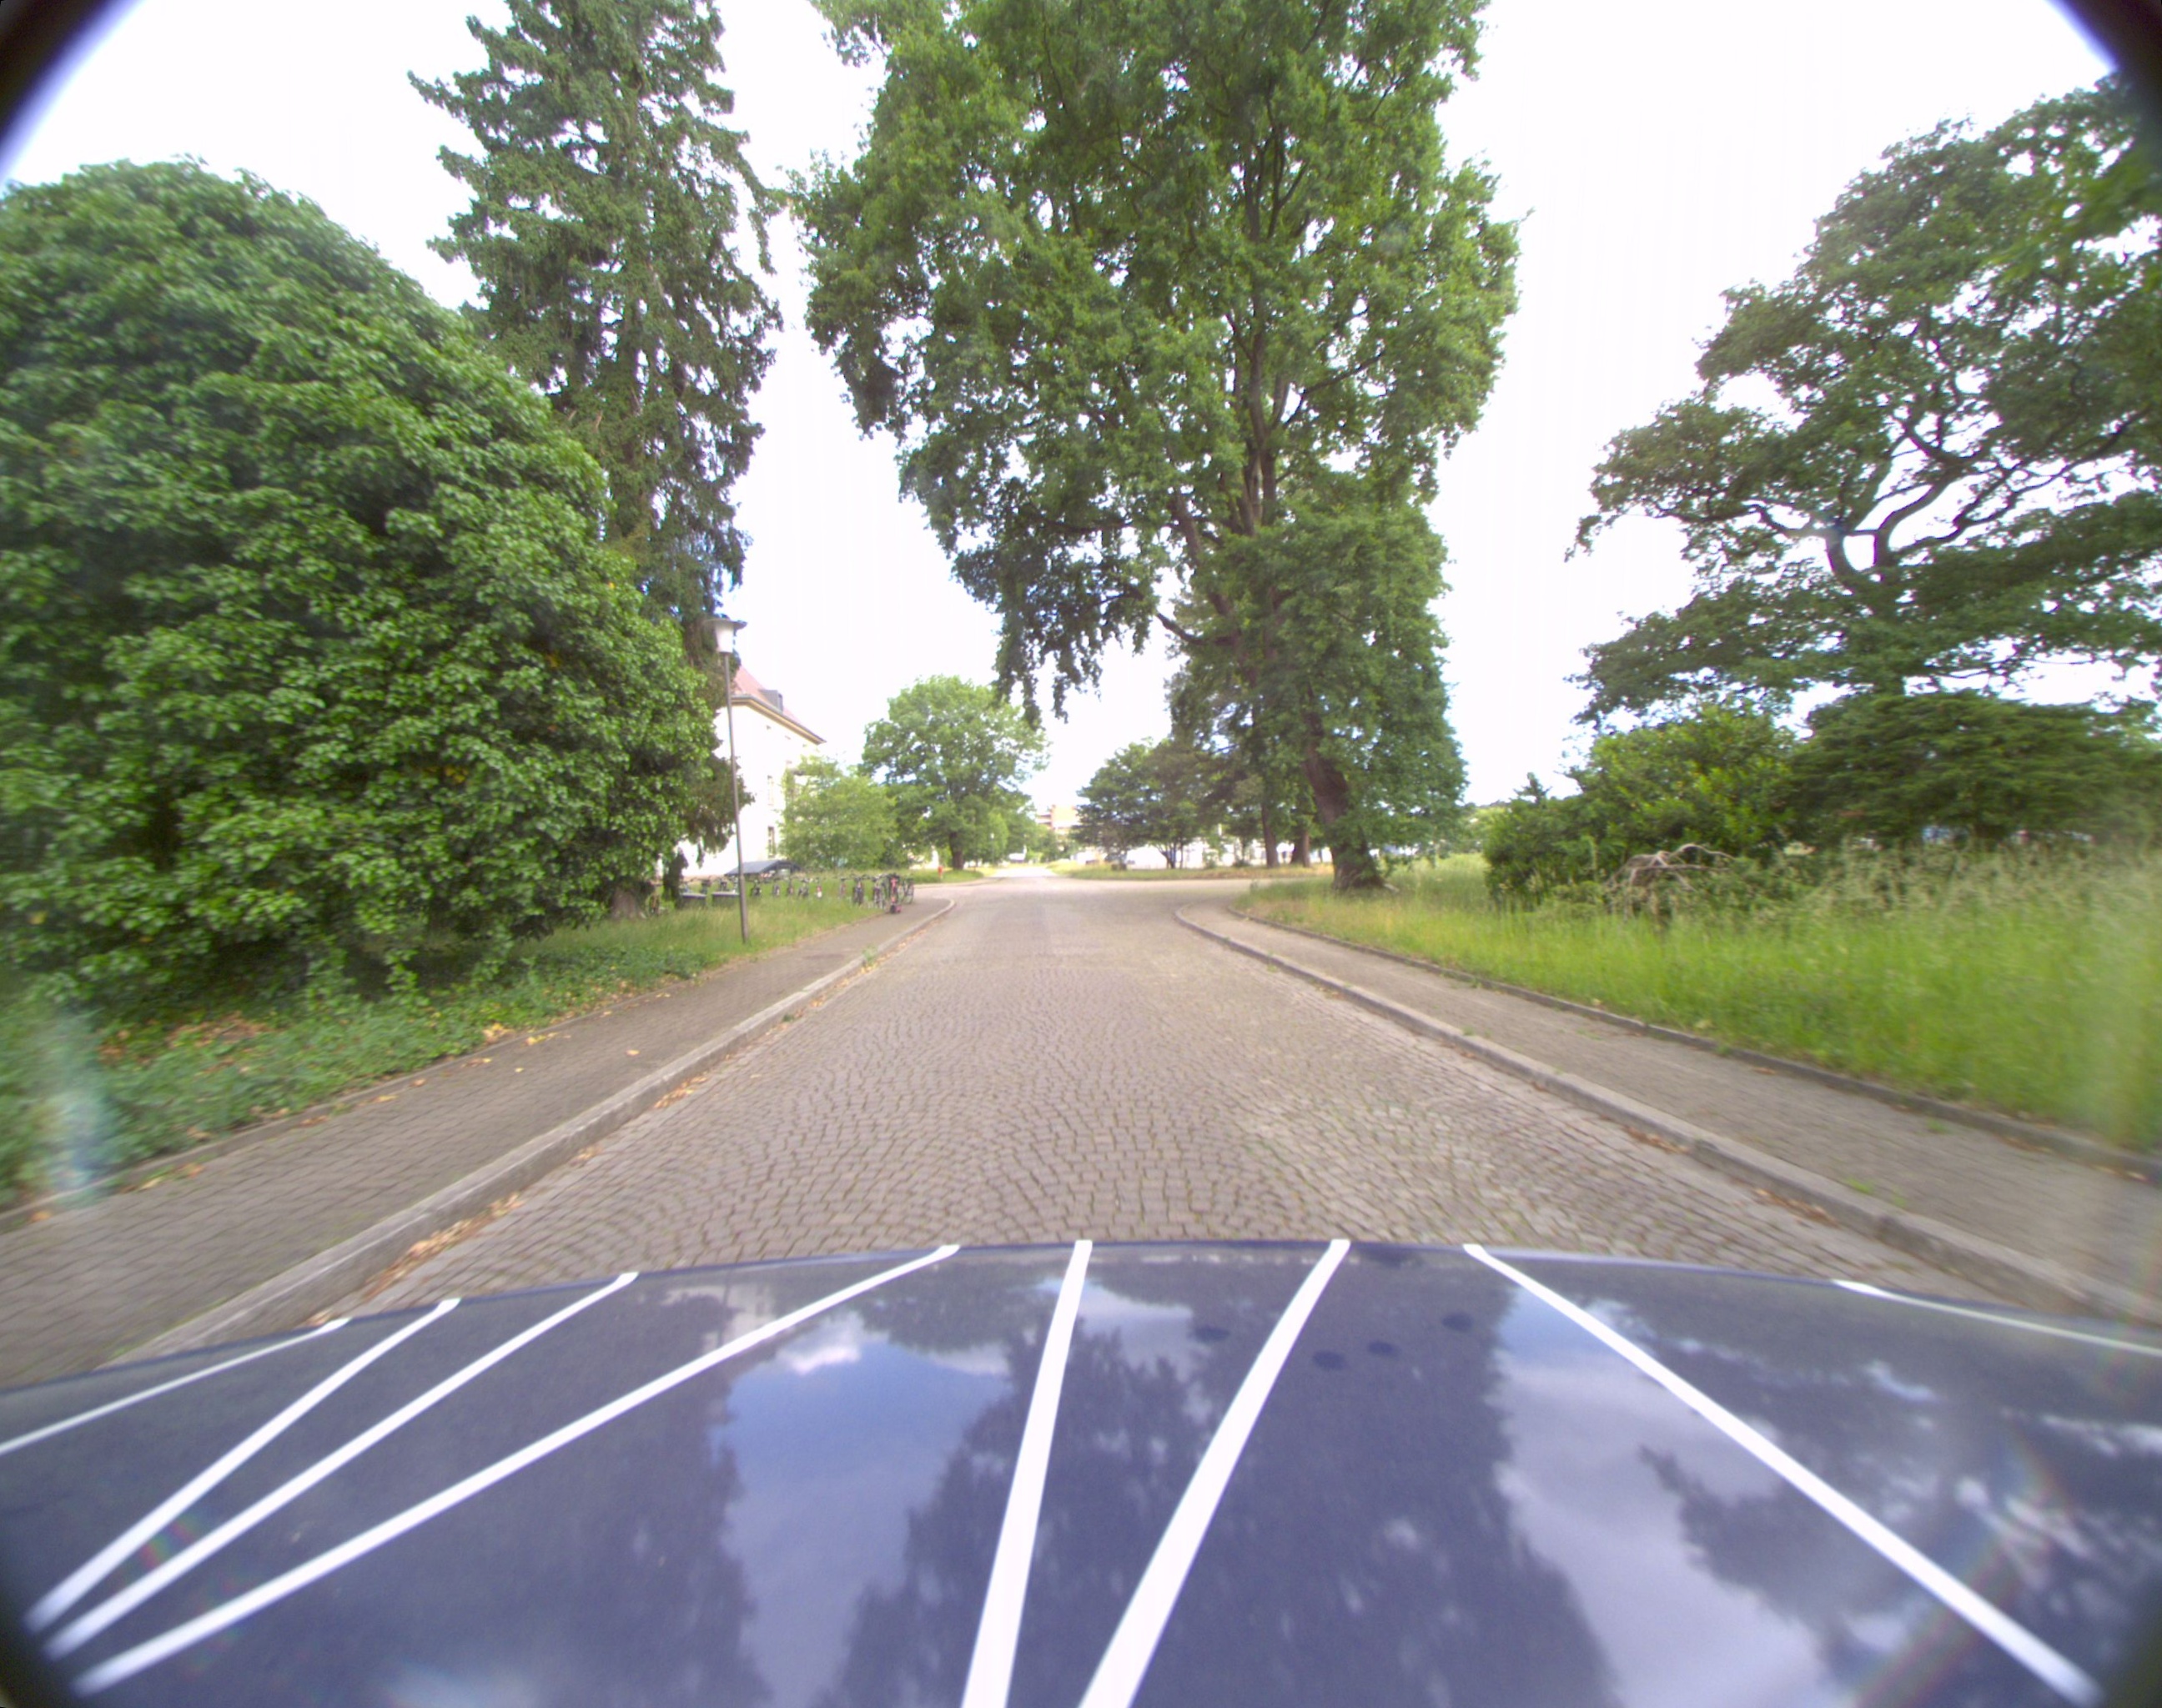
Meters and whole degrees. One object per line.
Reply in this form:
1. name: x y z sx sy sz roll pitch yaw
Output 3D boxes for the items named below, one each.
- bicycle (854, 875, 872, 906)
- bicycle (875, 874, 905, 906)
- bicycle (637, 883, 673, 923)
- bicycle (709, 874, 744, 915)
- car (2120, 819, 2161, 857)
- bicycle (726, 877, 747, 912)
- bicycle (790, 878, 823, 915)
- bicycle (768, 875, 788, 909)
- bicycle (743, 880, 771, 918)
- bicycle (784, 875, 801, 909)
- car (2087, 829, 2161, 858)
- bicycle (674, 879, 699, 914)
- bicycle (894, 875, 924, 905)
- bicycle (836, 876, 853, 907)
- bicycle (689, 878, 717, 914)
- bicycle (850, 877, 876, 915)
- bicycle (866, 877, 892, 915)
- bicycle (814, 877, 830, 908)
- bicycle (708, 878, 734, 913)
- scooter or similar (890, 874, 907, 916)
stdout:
1. bicycle: -7.885 1.303 27.398 0.478 1.002 1.664 -2 2 -20
2. bicycle: -7.048 1.316 27.979 0.478 1.068 1.618 -3 2 -35
3. bicycle: -12.234 1.390 21.865 0.552 1.036 1.681 -2 0 -18
4. bicycle: -10.887 1.233 23.390 0.551 1.164 1.752 -2 0 -12
5. car: 55.701 -0.872 37.705 1.792 1.890 4.545 -2 -2 -5
6. bicycle: -11.826 1.360 26.074 0.478 1.105 1.762 -2 0 -20
7. bicycle: -8.470 1.297 23.427 0.619 1.059 1.822 -2 0 -29
8. bicycle: -10.616 1.318 26.585 0.478 1.105 1.762 -2 0 -26
9. bicycle: -9.759 1.342 22.840 0.552 1.059 1.750 -2 0 -29
10. bicycle: -10.080 1.296 26.579 0.478 1.105 1.762 -2 0 -20
11. car: 53.187 -0.536 37.661 1.583 1.331 3.694 -2 -2 -5
12. bicycle: -13.286 1.413 25.621 0.478 1.105 1.762 -2 0 -20
13. bicycle: -6.339 1.311 28.002 0.478 1.002 1.618 -3 2 -35
14. bicycle: -8.489 1.325 27.247 0.478 1.002 1.664 -2 2 -20
15. bicycle: -12.678 1.394 25.516 0.442 1.105 1.650 -2 0 -14
16. bicycle: -6.873 1.288 23.915 0.552 1.108 1.802 -2 0 -22
17. bicycle: -6.434 1.313 24.151 0.552 1.108 1.766 -2 0 -22
18. bicycle: -9.254 1.354 27.110 0.478 1.002 1.664 -2 2 -20
19. bicycle: -12.205 1.379 25.816 0.442 1.105 1.650 -2 0 -14
20. scooter or similar: -5.518 1.233 22.978 0.358 1.202 1.137 -2 0 -8
